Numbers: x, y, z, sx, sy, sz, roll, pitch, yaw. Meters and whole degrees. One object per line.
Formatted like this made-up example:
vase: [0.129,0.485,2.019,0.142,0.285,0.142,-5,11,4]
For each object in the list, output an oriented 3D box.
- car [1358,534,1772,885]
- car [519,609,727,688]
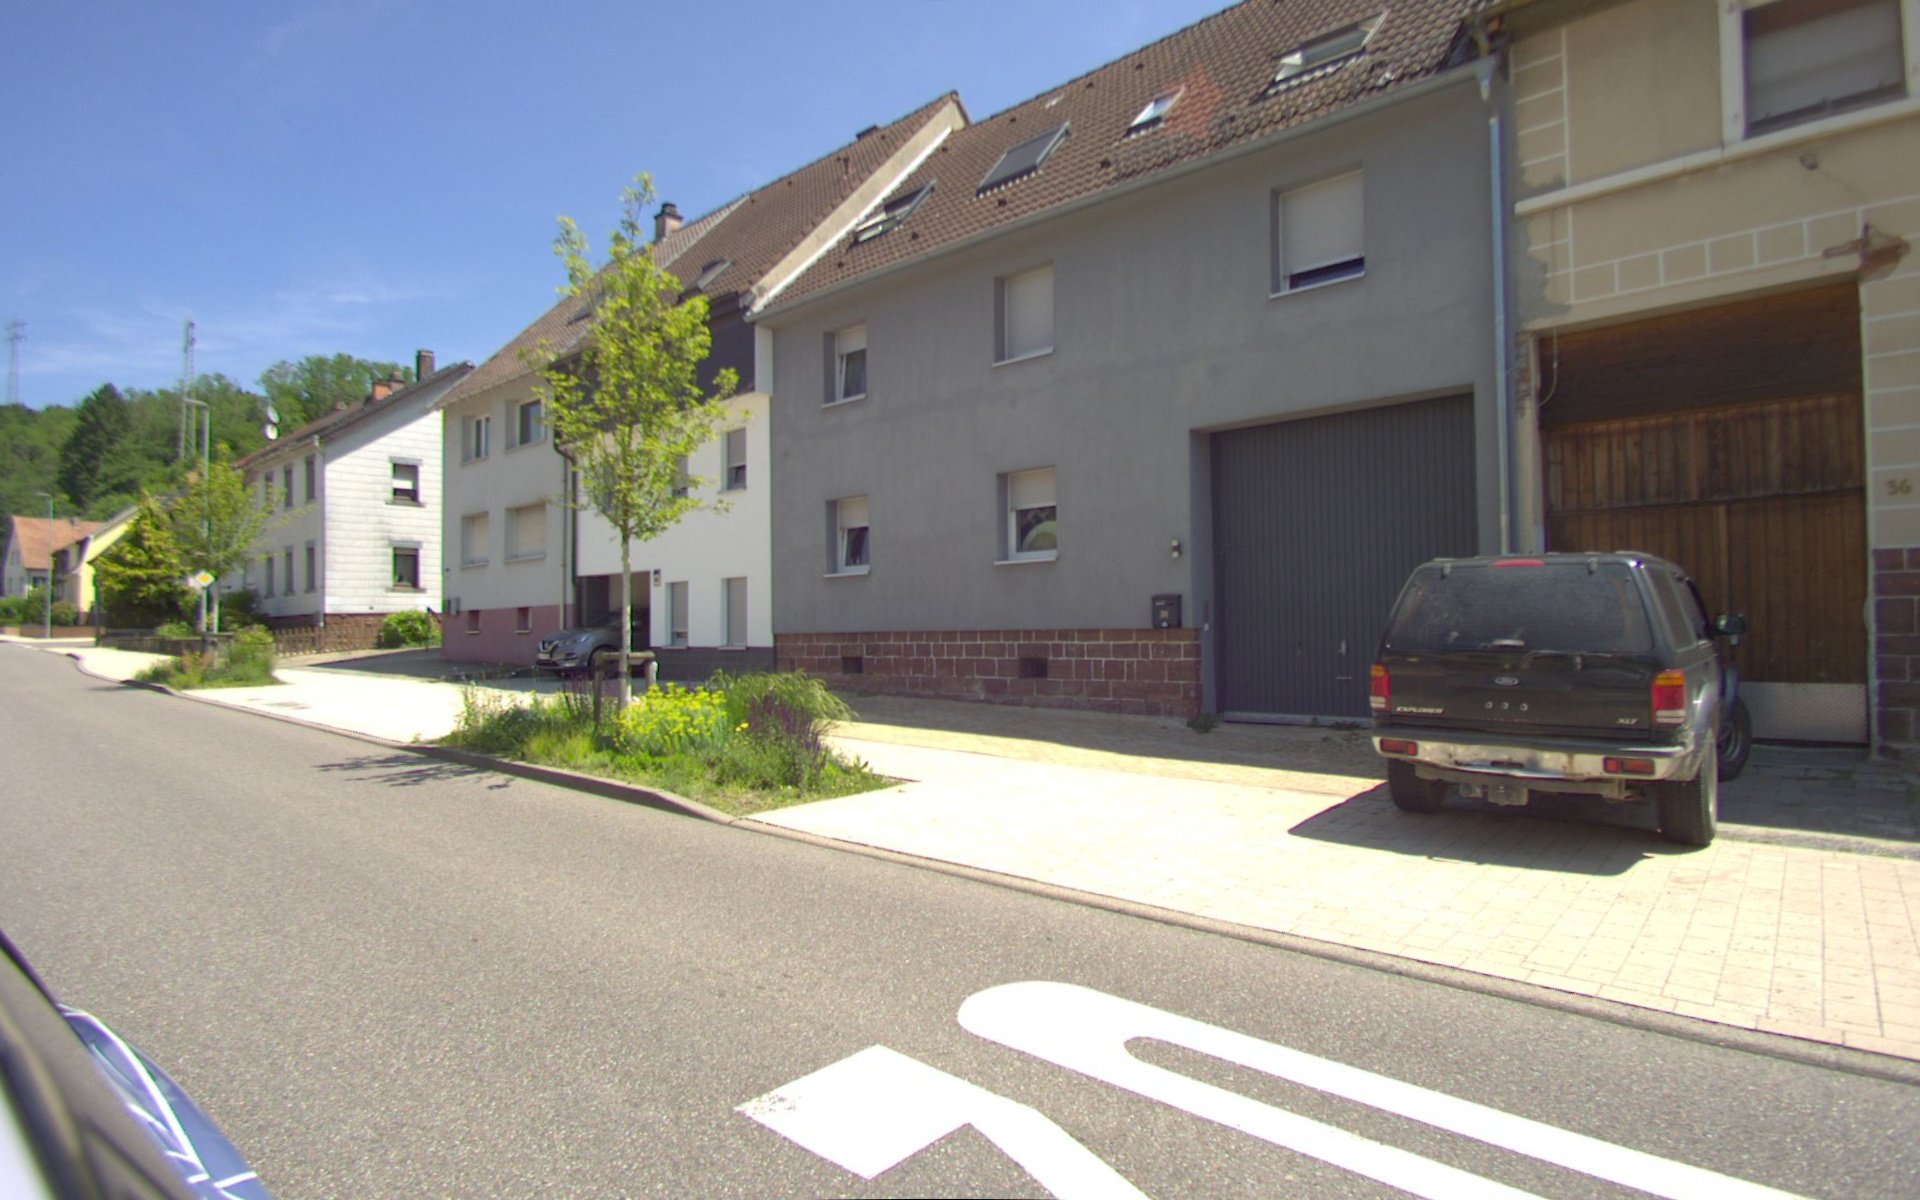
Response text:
car: [4.615,0.587,7.368,1.877,1.764,4.349,-1,-2,40]
car: [-7.291,0.985,22.131,1.832,1.557,3.944,-1,-1,42]
